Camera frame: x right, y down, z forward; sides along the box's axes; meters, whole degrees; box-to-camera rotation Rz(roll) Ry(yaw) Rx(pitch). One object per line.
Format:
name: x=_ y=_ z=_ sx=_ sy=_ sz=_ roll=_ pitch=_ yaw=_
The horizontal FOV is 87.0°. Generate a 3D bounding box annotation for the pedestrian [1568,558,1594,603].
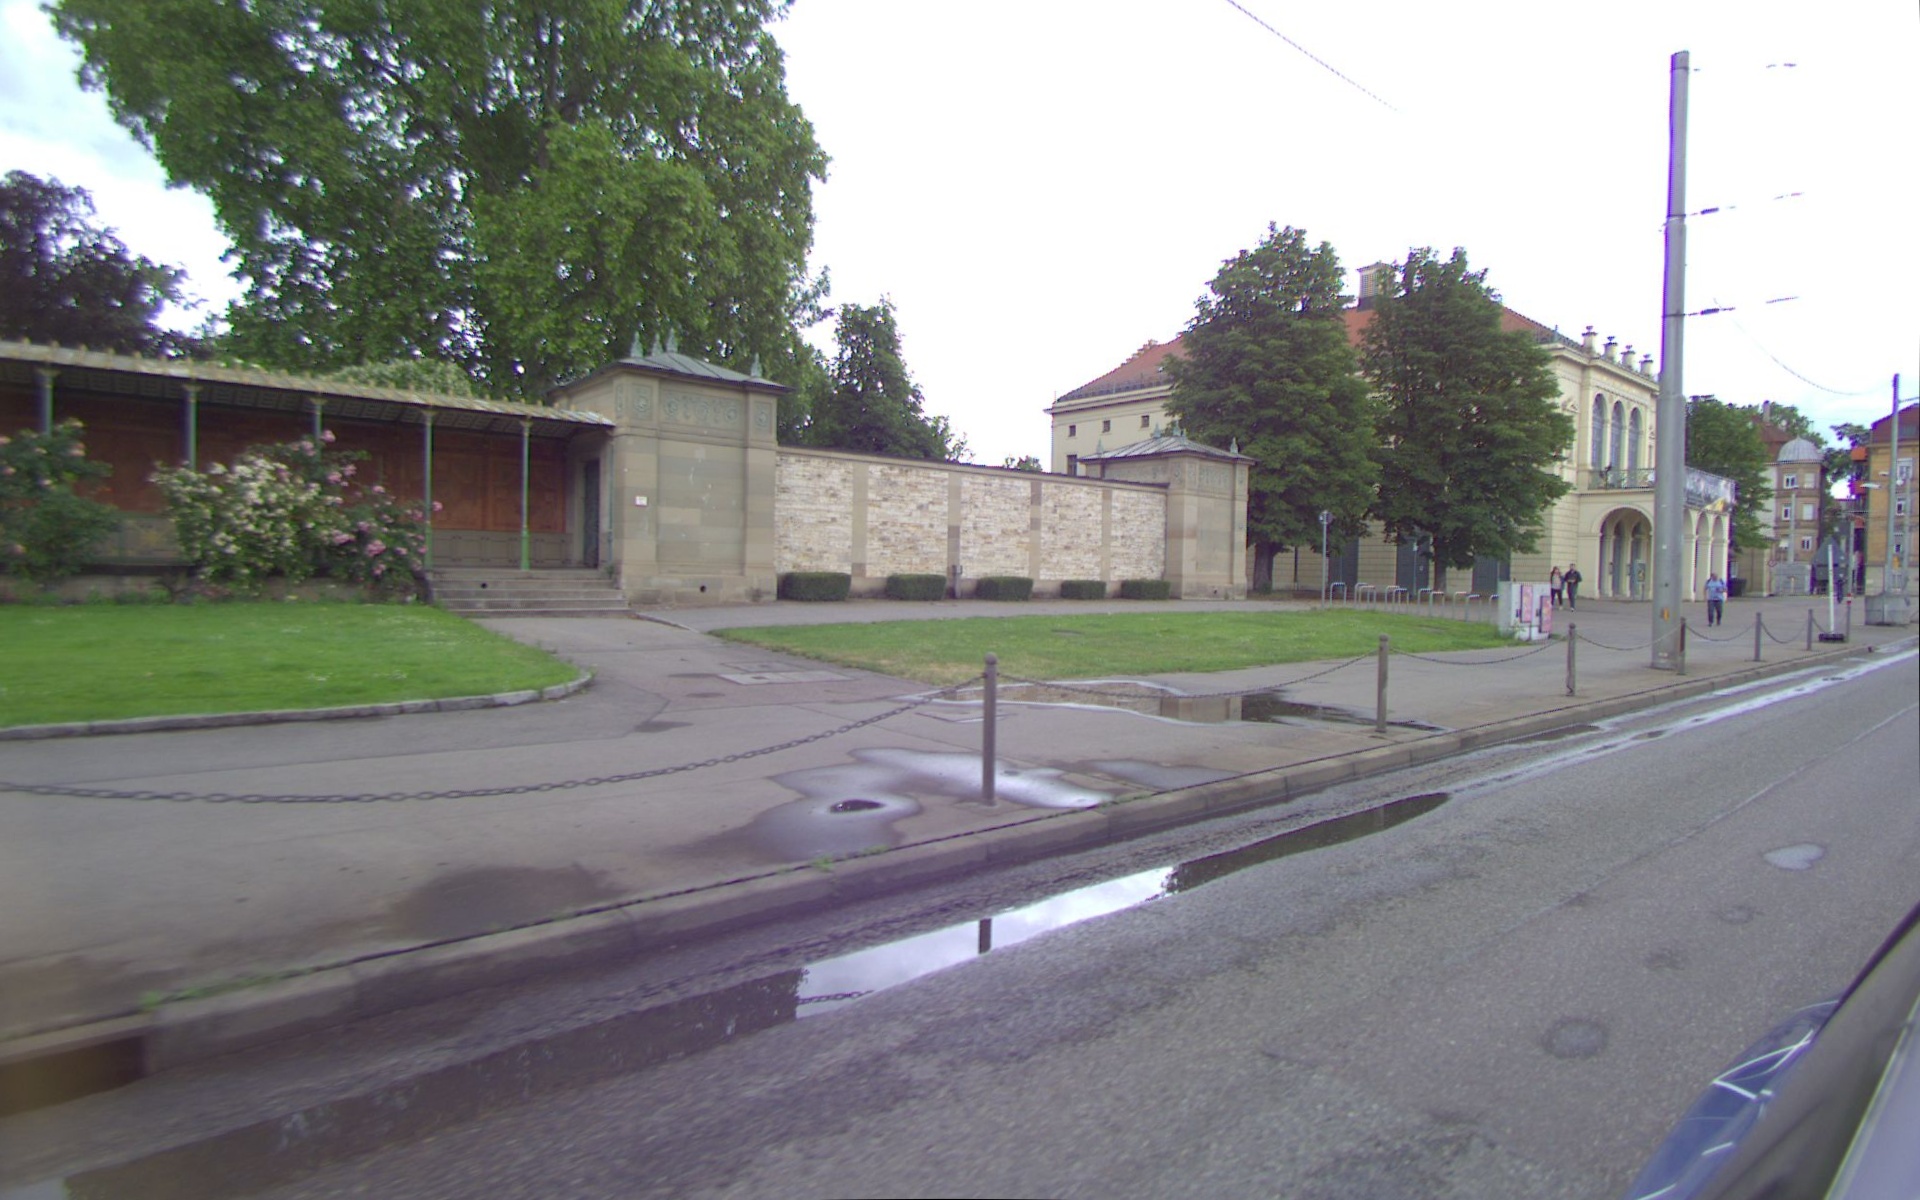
pedestrian: x=23.876 y=-0.761 z=38.903 sx=0.776 sy=1.720 sz=0.597 roll=-1 pitch=2 yaw=-40

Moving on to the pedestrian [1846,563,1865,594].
pedestrian: x=51.453 y=-1.233 z=58.157 sx=0.920 sy=1.789 sz=0.672 roll=-1 pitch=2 yaw=-40

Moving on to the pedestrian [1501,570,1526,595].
pedestrian: x=22.665 y=-0.714 z=41.443 sx=0.748 sy=1.013 sz=0.594 roll=1 pitch=2 yaw=15

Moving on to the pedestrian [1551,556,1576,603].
pedestrian: x=23.484 y=-0.815 z=39.378 sx=0.794 sy=1.814 sz=0.596 roll=-1 pitch=2 yaw=-40

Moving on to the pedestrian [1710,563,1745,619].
pedestrian: x=25.088 y=-0.308 z=33.087 sx=0.920 sy=1.789 sz=0.672 roll=-1 pitch=2 yaw=-40

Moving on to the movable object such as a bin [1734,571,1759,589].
movable object such as a bin: x=61.944 y=-1.576 z=79.699 sx=1.355 sy=1.385 sz=1.297 roll=-1 pitch=3 yaw=-41
